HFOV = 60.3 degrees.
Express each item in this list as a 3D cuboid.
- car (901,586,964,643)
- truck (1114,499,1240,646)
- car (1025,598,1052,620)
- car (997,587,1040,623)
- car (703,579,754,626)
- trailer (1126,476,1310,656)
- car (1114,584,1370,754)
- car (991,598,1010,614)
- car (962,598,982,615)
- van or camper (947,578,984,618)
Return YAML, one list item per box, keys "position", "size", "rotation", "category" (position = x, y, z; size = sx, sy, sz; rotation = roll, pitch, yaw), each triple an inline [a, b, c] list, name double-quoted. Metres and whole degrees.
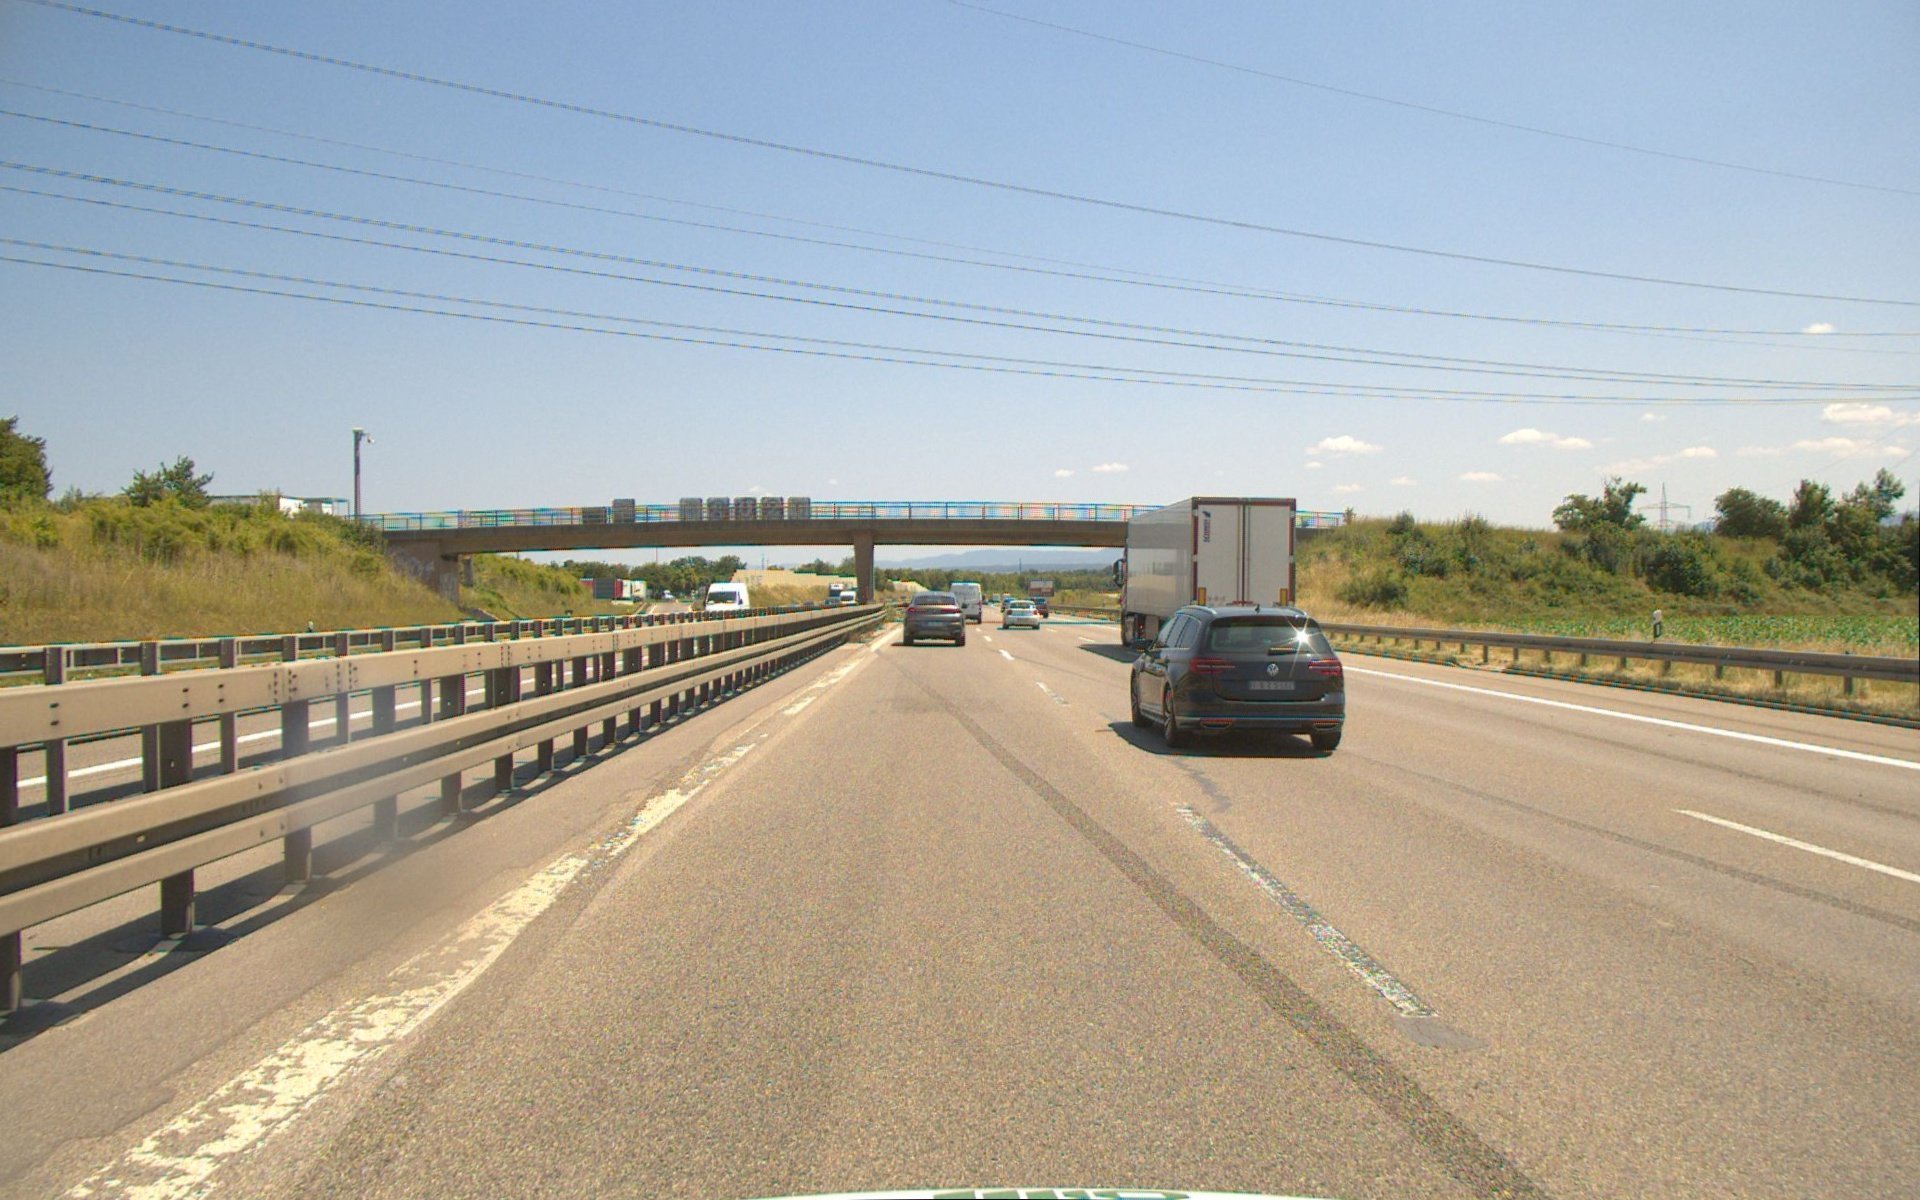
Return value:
- position: [-0.902, 0.448, 52.712]
  size: [1.814, 1.693, 3.732]
  rotation: [1, 0, -4]
  category: "car"
- position: [6.799, -0.809, 52.950]
  size: [2.918, 4.301, 7.686]
  rotation: [1, 0, -1]
  category: "truck"
- position: [6.285, 0.734, 132.433]
  size: [1.953, 1.712, 3.999]
  rotation: [1, 0, -1]
  category: "car"
- position: [2.877, 0.233, 82.701]
  size: [1.953, 1.712, 3.999]
  rotation: [1, 0, -1]
  category: "car"
- position: [-13.569, 0.140, 97.253]
  size: [1.991, 2.651, 7.599]
  rotation: [1, 0, -1]
  category: "car"
- position: [6.890, -0.804, 46.520]
  size: [2.883, 4.271, 13.594]
  rotation: [1, 0, 0]
  category: "trailer"
- position: [2.944, 0.663, 18.358]
  size: [1.894, 1.602, 4.933]
  rotation: [1, 0, -1]
  category: "car"
- position: [4.322, 0.662, 177.266]
  size: [1.953, 1.712, 3.999]
  rotation: [1, 0, -1]
  category: "car"
- position: [1.199, 0.674, 167.735]
  size: [1.953, 1.712, 3.999]
  rotation: [1, 0, -1]
  category: "car"
- position: [0.284, -0.122, 97.800]
  size: [2.067, 2.250, 5.265]
  rotation: [1, 0, -1]
  category: "van or camper"
